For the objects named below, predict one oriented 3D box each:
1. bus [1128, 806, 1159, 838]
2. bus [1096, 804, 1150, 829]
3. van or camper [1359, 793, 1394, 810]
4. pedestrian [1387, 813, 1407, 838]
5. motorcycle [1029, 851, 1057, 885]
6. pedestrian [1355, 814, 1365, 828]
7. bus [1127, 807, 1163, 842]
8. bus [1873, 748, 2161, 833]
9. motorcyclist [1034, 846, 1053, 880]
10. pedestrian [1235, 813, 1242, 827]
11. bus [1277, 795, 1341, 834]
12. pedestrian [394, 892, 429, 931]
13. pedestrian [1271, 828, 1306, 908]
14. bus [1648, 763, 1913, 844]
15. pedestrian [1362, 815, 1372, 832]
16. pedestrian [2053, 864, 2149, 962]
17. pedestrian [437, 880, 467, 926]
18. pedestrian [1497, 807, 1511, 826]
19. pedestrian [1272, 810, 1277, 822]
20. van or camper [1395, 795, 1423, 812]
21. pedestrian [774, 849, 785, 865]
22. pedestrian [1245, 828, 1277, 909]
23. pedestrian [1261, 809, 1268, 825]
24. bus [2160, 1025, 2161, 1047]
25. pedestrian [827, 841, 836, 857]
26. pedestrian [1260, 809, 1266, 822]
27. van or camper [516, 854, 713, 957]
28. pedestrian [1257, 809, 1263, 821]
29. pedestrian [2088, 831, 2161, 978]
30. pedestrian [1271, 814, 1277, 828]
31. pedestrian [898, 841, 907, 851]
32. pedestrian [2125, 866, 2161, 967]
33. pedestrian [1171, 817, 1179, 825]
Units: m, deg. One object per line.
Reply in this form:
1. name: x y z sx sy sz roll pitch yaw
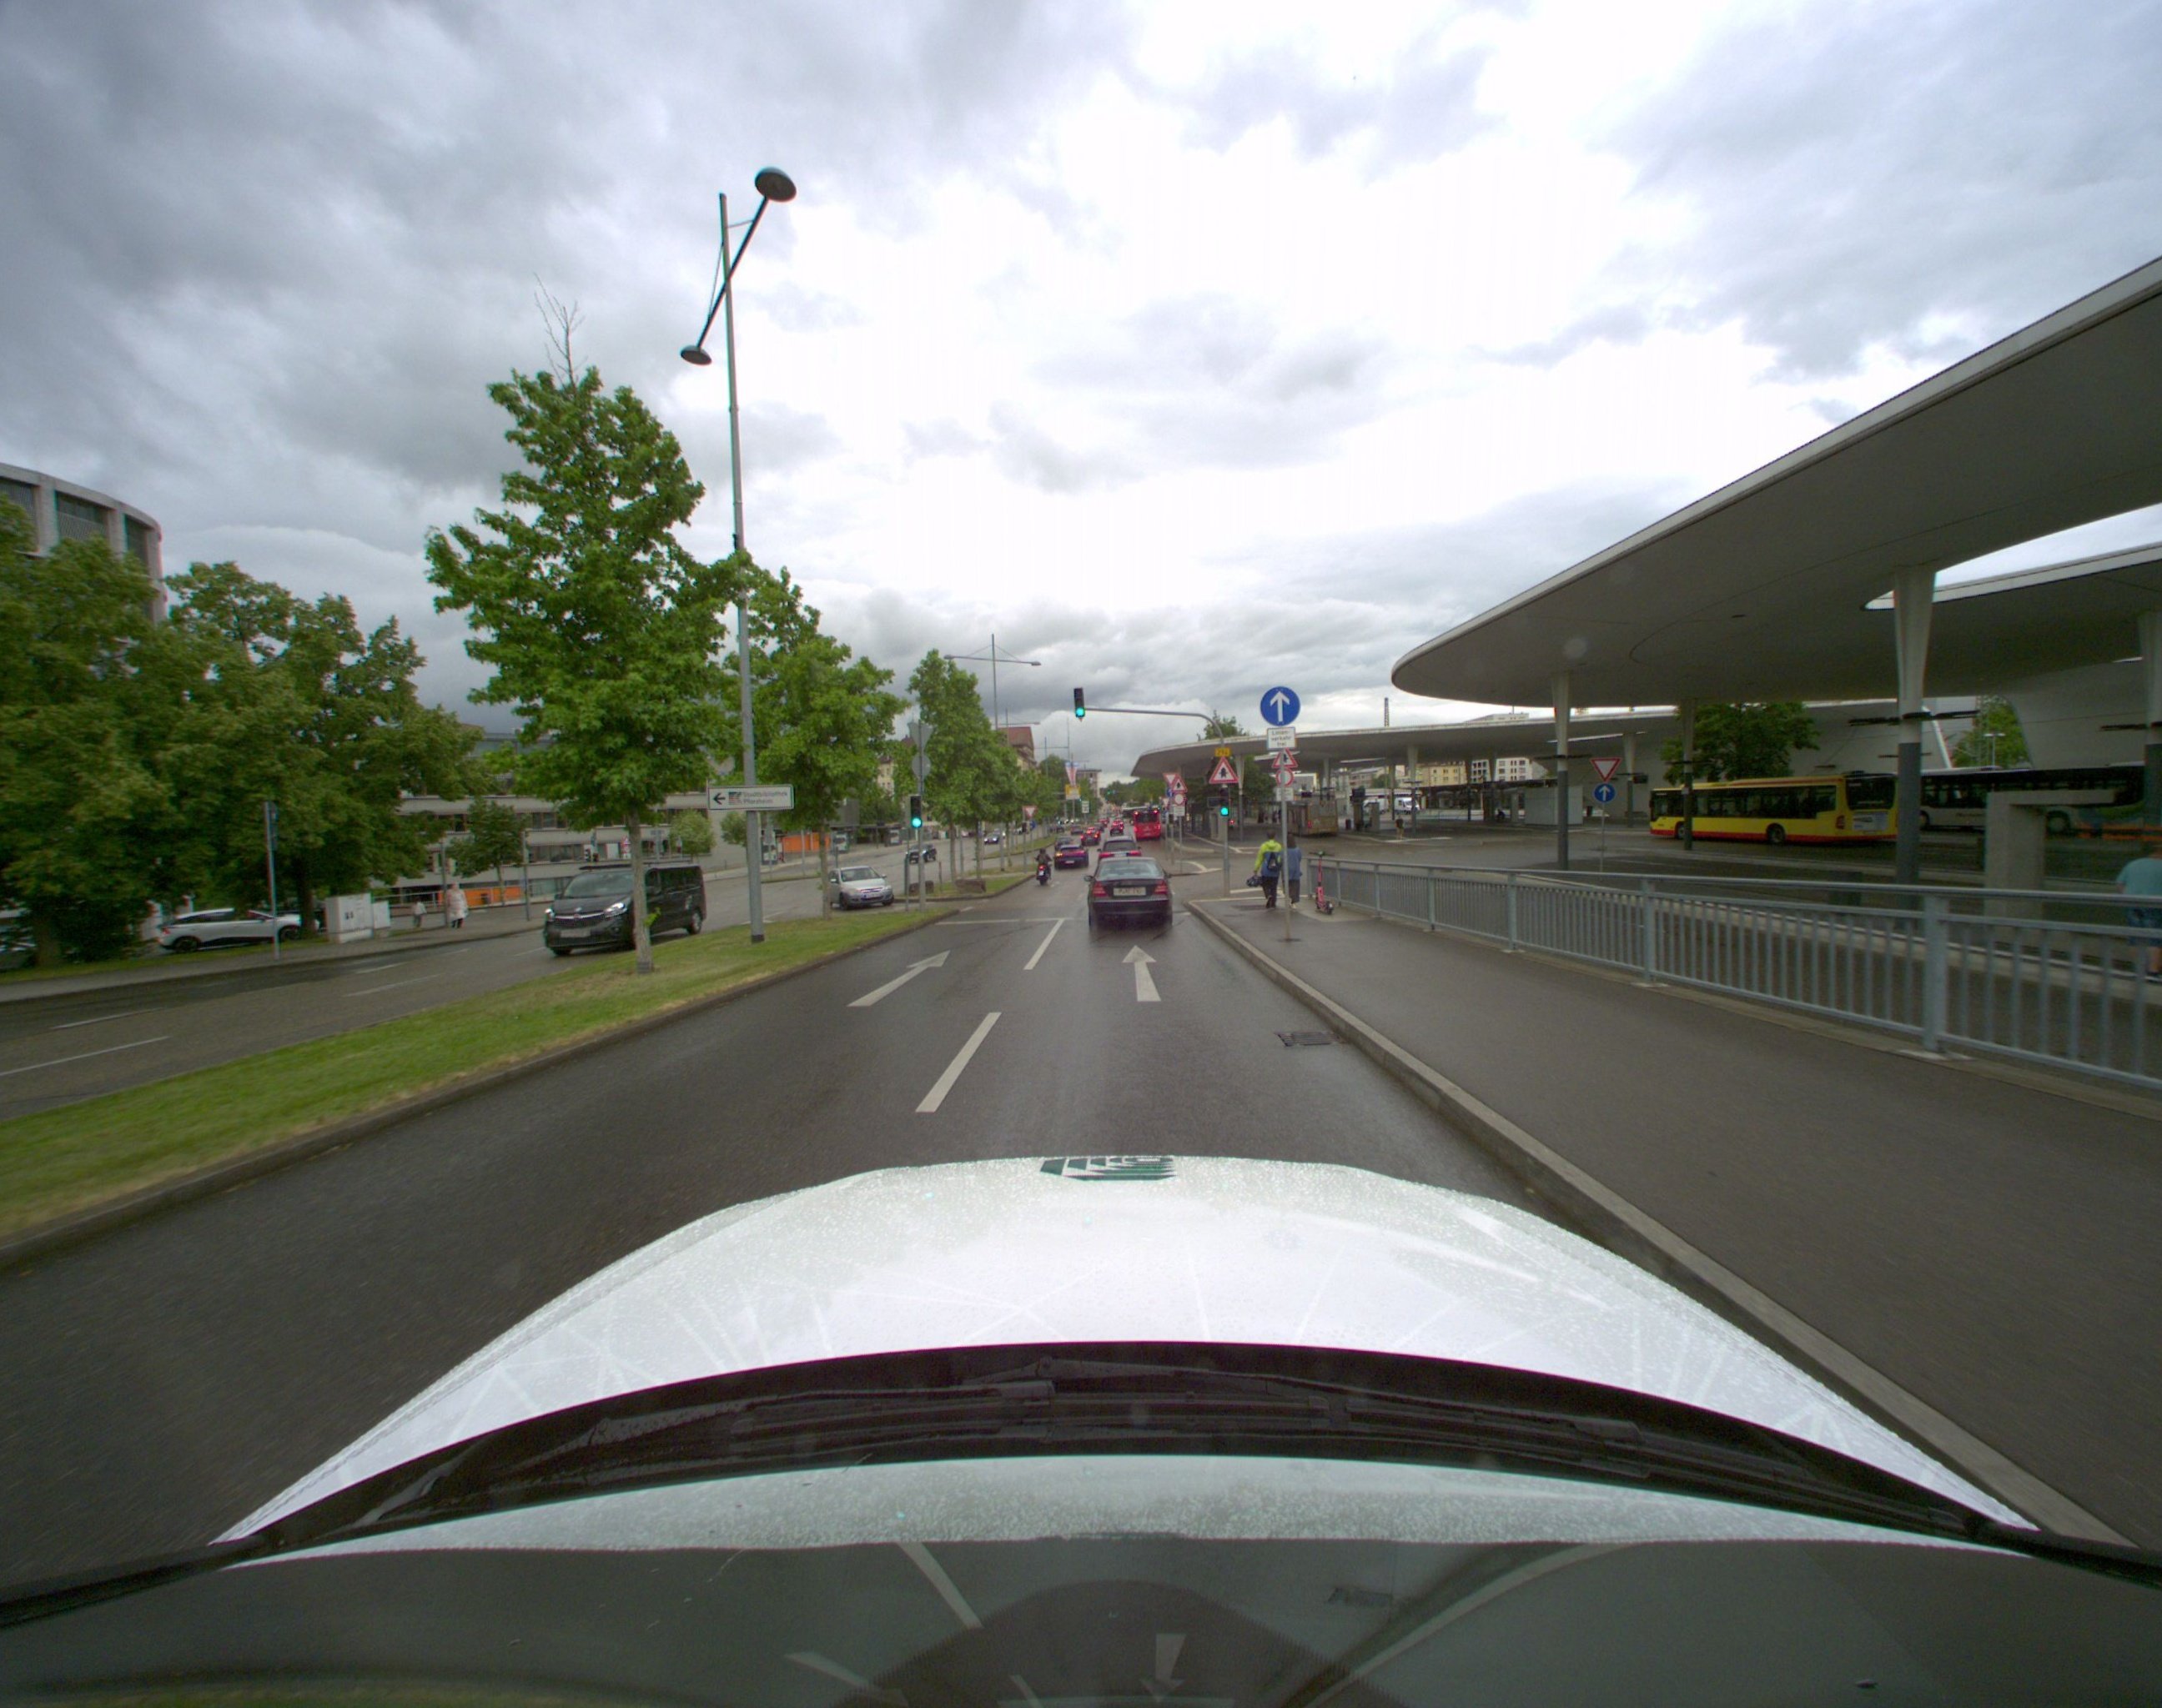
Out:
1. bus: 7.107 -3.717 93.839 3.277 3.288 8.860 -4 3 3
2. bus: 7.486 -6.792 149.214 2.861 3.986 11.732 -5 3 -37
3. van or camper: 45.139 -8.054 124.511 4.591 2.557 2.119 0 1 1
4. pedestrian: 22.275 -2.001 57.455 0.720 1.683 1.013 -6 3 -23
5. motorcycle: -1.592 0.579 34.473 0.789 1.261 1.859 -5 3 6
6. pedestrian: 24.944 -2.964 72.718 0.786 1.226 0.637 -3 3 19
7. bus: 6.642 -3.229 85.797 3.272 3.290 10.891 -4 3 3
8. bus: 43.405 -2.910 37.567 2.456 3.256 11.982 -4 4 3
9. motorcyclist: -1.585 0.382 34.424 0.638 1.347 0.690 -4 3 6
10. pedestrian: 18.465 -3.978 95.345 0.597 1.581 0.710 -2 1 -7
11. bus: 20.369 -3.633 73.461 2.711 3.042 12.100 -4 3 3
12. pedestrian: -23.642 2.026 28.766 0.651 1.292 0.629 -5 0 -11
13. pedestrian: 4.389 0.292 17.274 0.587 1.670 0.580 0 -2 1
14. bus: 33.551 -2.434 40.188 2.779 3.256 12.146 -3 3 1
15. pedestrian: 24.804 -2.642 70.635 0.786 1.377 0.637 -3 3 19
16. pedestrian: 15.092 0.851 12.059 0.954 1.254 0.644 -7 5 -22
17. pedestrian: -22.349 1.731 28.950 0.656 1.570 0.624 -5 0 -32
18. pedestrian: 37.572 -3.336 72.369 0.793 1.585 0.907 -1 2 -4
19. pedestrian: 26.023 -5.078 109.481 0.573 1.578 0.565 0 -1 37
20. van or camper: 47.477 -7.295 117.993 1.986 2.102 5.483 0 1 2
21. pedestrian: -28.429 0.259 76.739 0.676 1.392 0.721 -3 2 0
22. pedestrian: 3.826 0.306 17.305 0.520 1.670 0.581 -2 0 2
23. pedestrian: 23.795 -4.780 105.673 0.716 2.014 0.674 0 -1 29
24. bus: 12.011 0.696 1.827 2.834 3.360 12.437 0 4 2
25. pedestrian: -27.363 -0.555 89.242 0.471 1.683 0.765 -4 3 9
26. pedestrian: 24.583 -5.167 110.055 0.573 1.716 0.565 0 -1 37
27. van or camper: -11.409 1.161 20.510 2.214 2.072 5.272 -5 0 -6
28. pedestrian: 23.951 -5.200 109.003 0.573 1.578 0.565 0 -1 32
29. pedestrian: 14.259 0.655 11.017 0.588 1.886 0.643 -4 4 -28
30. pedestrian: 23.164 -3.993 97.788 0.559 1.691 0.613 -3 3 -4
31. pedestrian: -25.287 -1.154 115.468 0.967 1.267 0.854 2 4 23
32. pedestrian: 15.103 0.864 11.225 0.954 1.254 0.644 -7 5 -22
33. pedestrian: 12.646 -4.416 109.222 0.906 0.985 0.636 -2 -1 16
